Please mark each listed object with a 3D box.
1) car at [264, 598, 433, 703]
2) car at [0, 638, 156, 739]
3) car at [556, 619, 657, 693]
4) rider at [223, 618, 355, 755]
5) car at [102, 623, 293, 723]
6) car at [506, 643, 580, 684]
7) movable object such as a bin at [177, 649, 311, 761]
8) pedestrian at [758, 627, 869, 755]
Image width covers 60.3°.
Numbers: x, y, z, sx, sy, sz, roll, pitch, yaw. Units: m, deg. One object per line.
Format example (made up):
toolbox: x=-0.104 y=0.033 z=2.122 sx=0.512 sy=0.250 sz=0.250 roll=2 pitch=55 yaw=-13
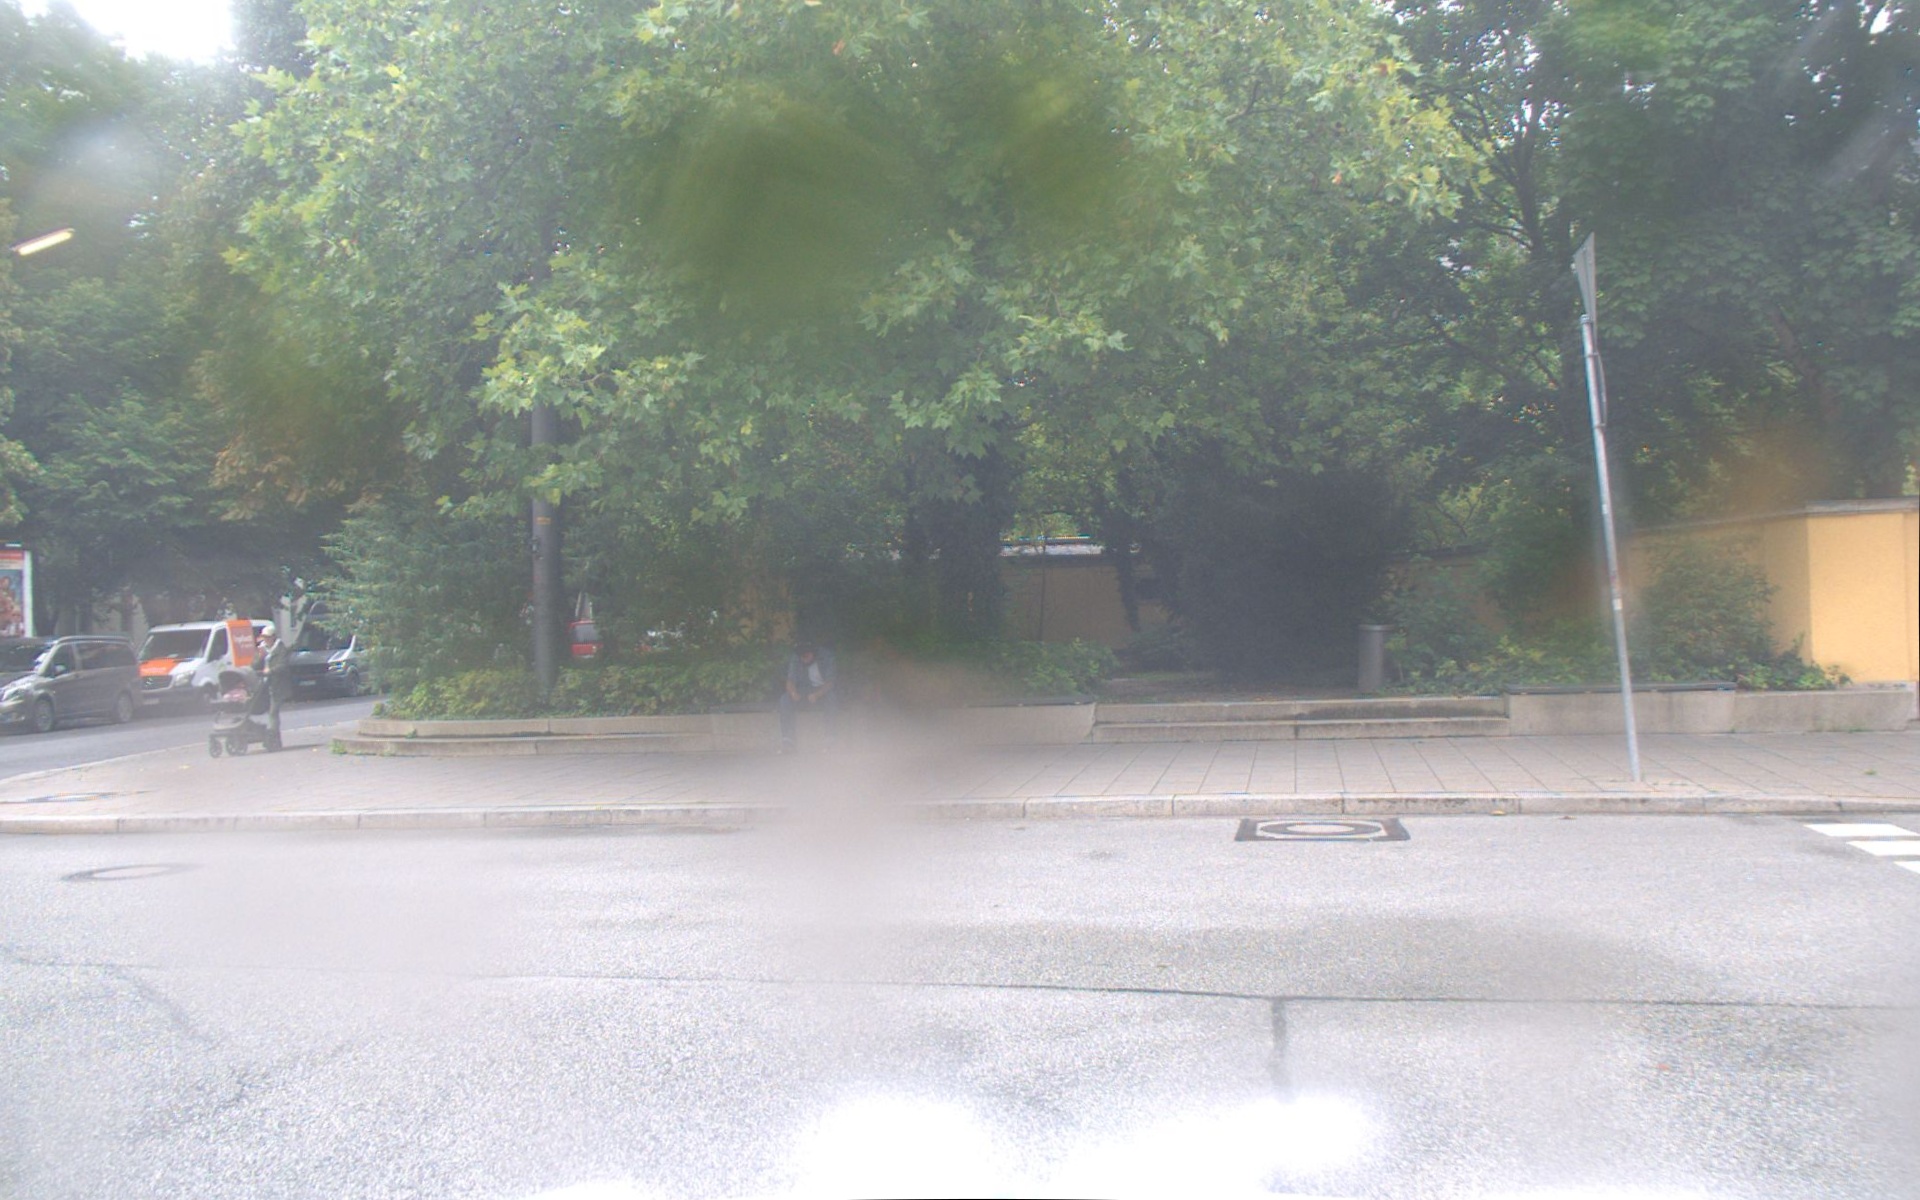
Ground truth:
car: x=-18.808 y=1.499 z=51.294 sx=2.286 sy=2.973 sz=6.582 roll=-2 pitch=-1 yaw=4
car: x=-19.248 y=1.807 z=34.675 sx=2.021 sy=1.891 sz=4.989 roll=-2 pitch=-1 yaw=4
car: x=-10.169 y=1.572 z=47.946 sx=2.000 sy=1.956 sz=4.445 roll=-2 pitch=-1 yaw=-1
rider: x=-8.939 y=1.134 z=22.067 sx=1.059 sy=1.696 sz=1.140 roll=-5 pitch=-1 yaw=17
car: x=-19.165 y=1.783 z=41.902 sx=2.066 sy=2.290 sz=5.198 roll=-2 pitch=-1 yaw=4
car: x=-17.792 y=2.684 z=70.733 sx=1.856 sy=1.599 sz=4.076 roll=-2 pitch=-1 yaw=4
movable object such as a bin: x=-9.176 y=1.336 z=21.226 sx=1.055 sy=1.289 sz=1.087 roll=-5 pitch=-1 yaw=17
pedestrian: x=-1.460 y=0.896 z=16.569 sx=0.794 sy=1.210 sz=0.920 roll=-2 pitch=-1 yaw=15
